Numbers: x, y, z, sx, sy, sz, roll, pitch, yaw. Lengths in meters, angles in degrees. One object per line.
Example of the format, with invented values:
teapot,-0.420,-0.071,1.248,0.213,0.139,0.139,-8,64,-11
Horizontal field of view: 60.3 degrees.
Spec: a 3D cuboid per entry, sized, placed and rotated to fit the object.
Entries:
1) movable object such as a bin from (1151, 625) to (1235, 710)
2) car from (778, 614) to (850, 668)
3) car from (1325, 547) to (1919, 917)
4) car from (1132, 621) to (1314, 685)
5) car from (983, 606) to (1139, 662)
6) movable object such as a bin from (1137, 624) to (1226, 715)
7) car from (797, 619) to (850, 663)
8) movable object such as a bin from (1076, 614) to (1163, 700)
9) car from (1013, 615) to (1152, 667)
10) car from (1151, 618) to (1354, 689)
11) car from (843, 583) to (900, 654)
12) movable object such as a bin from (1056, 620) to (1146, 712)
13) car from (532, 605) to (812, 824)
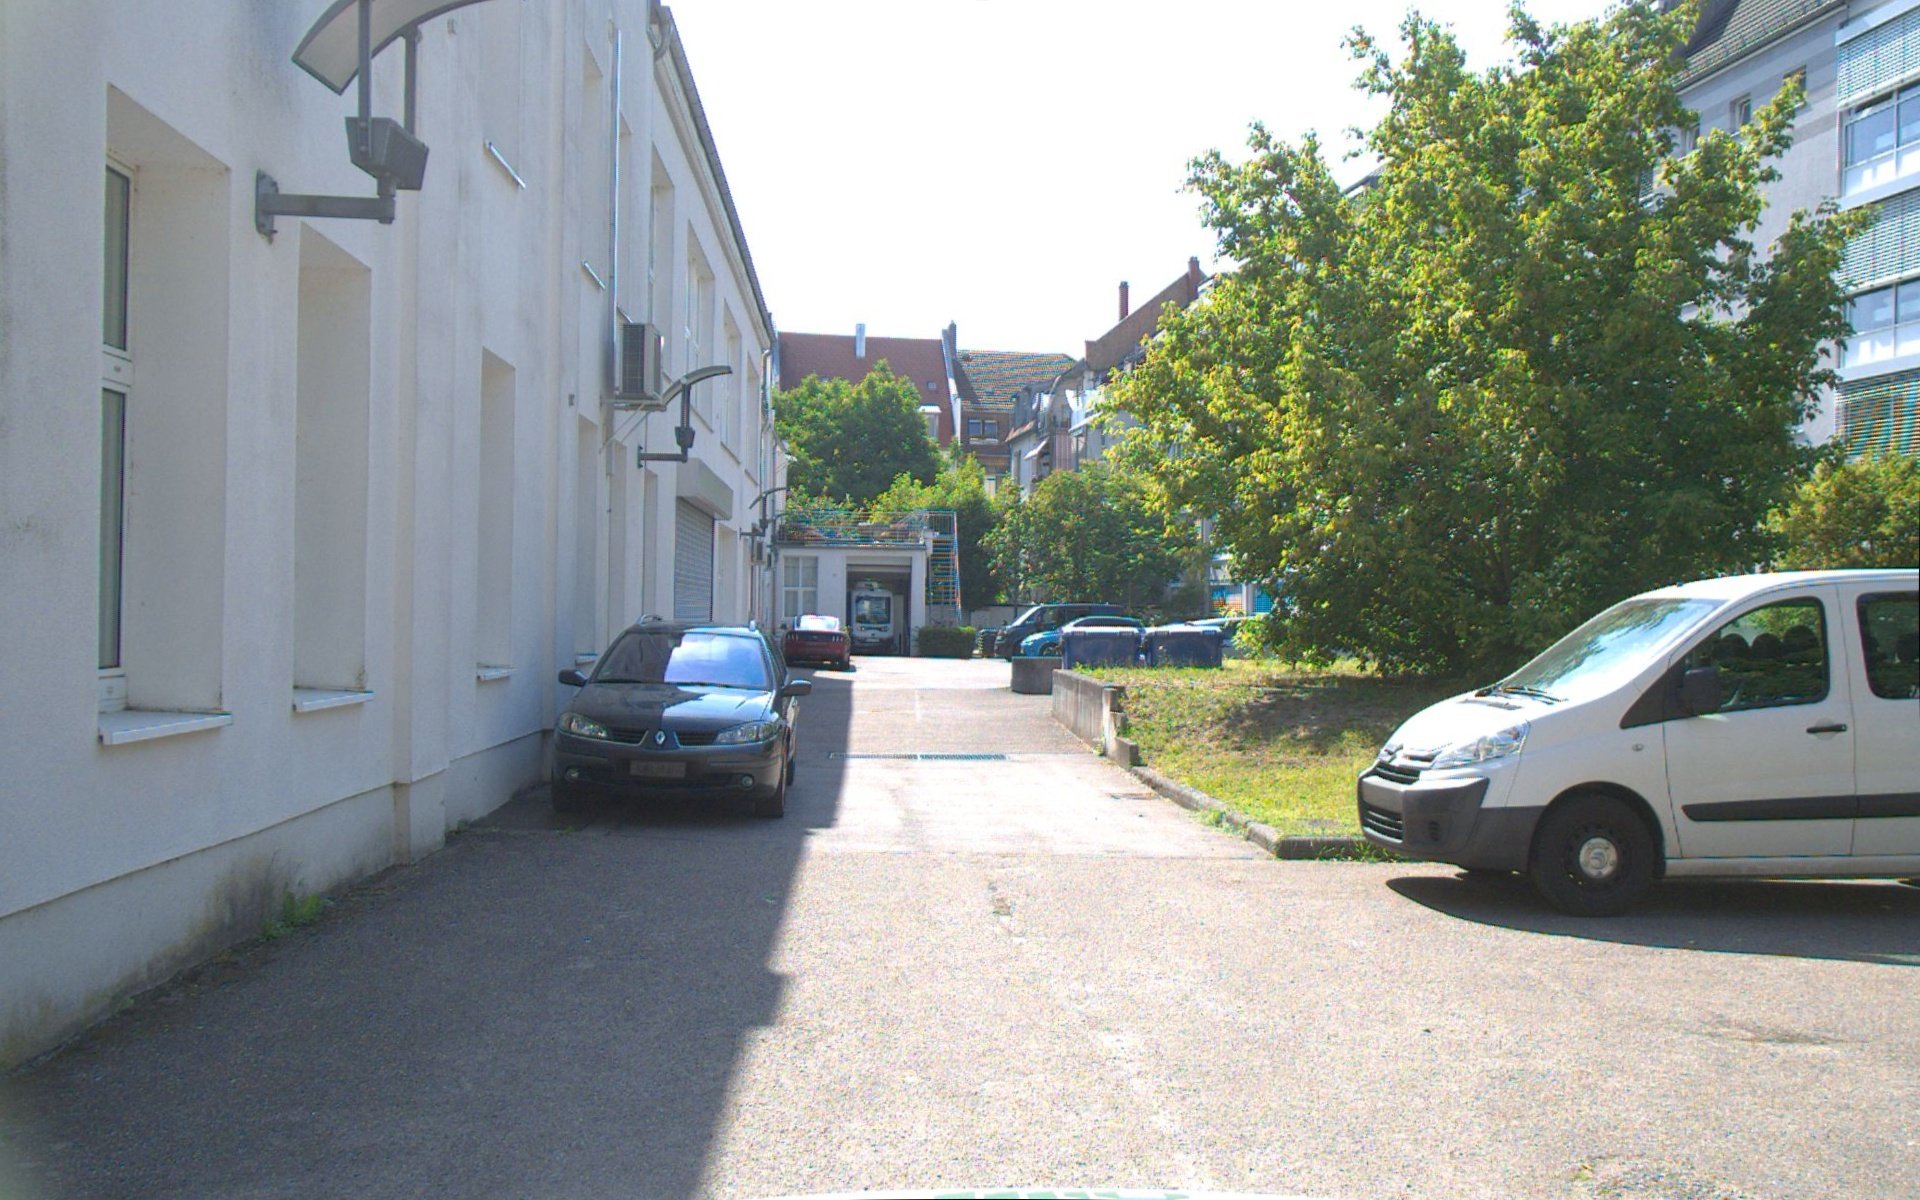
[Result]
movable object such as a bin,3.836,1.100,27.332,1.133,1.360,1.140,0,-1,-7
car,-3.975,1.081,45.394,1.815,1.342,3.996,2,-1,-4
car,4.897,0.735,9.957,4.923,1.967,1.999,1,0,-3
car,6.084,1.216,38.471,3.908,1.418,1.687,0,-1,-4
car,3.416,1.129,56.157,4.871,1.798,2.087,0,0,-16
movable object such as a bin,3.401,1.051,25.512,1.222,1.364,1.142,0,-1,-1
car,-4.295,1.265,52.443,1.582,1.318,3.756,0,0,-3
movable object such as a bin,2.608,0.915,27.139,1.223,1.379,1.127,0,-1,-7
car,3.892,1.283,52.930,4.148,1.559,1.997,0,0,-7
car,6.167,1.111,35.078,3.910,1.452,1.809,0,-1,-7
car,-3.508,0.735,65.285,2.131,2.653,6.729,0,-1,-3
movable object such as a bin,2.159,1.015,25.419,1.222,1.342,1.142,-1,-2,-2
car,-2.202,0.883,13.775,1.801,1.467,4.425,2,-2,-4
